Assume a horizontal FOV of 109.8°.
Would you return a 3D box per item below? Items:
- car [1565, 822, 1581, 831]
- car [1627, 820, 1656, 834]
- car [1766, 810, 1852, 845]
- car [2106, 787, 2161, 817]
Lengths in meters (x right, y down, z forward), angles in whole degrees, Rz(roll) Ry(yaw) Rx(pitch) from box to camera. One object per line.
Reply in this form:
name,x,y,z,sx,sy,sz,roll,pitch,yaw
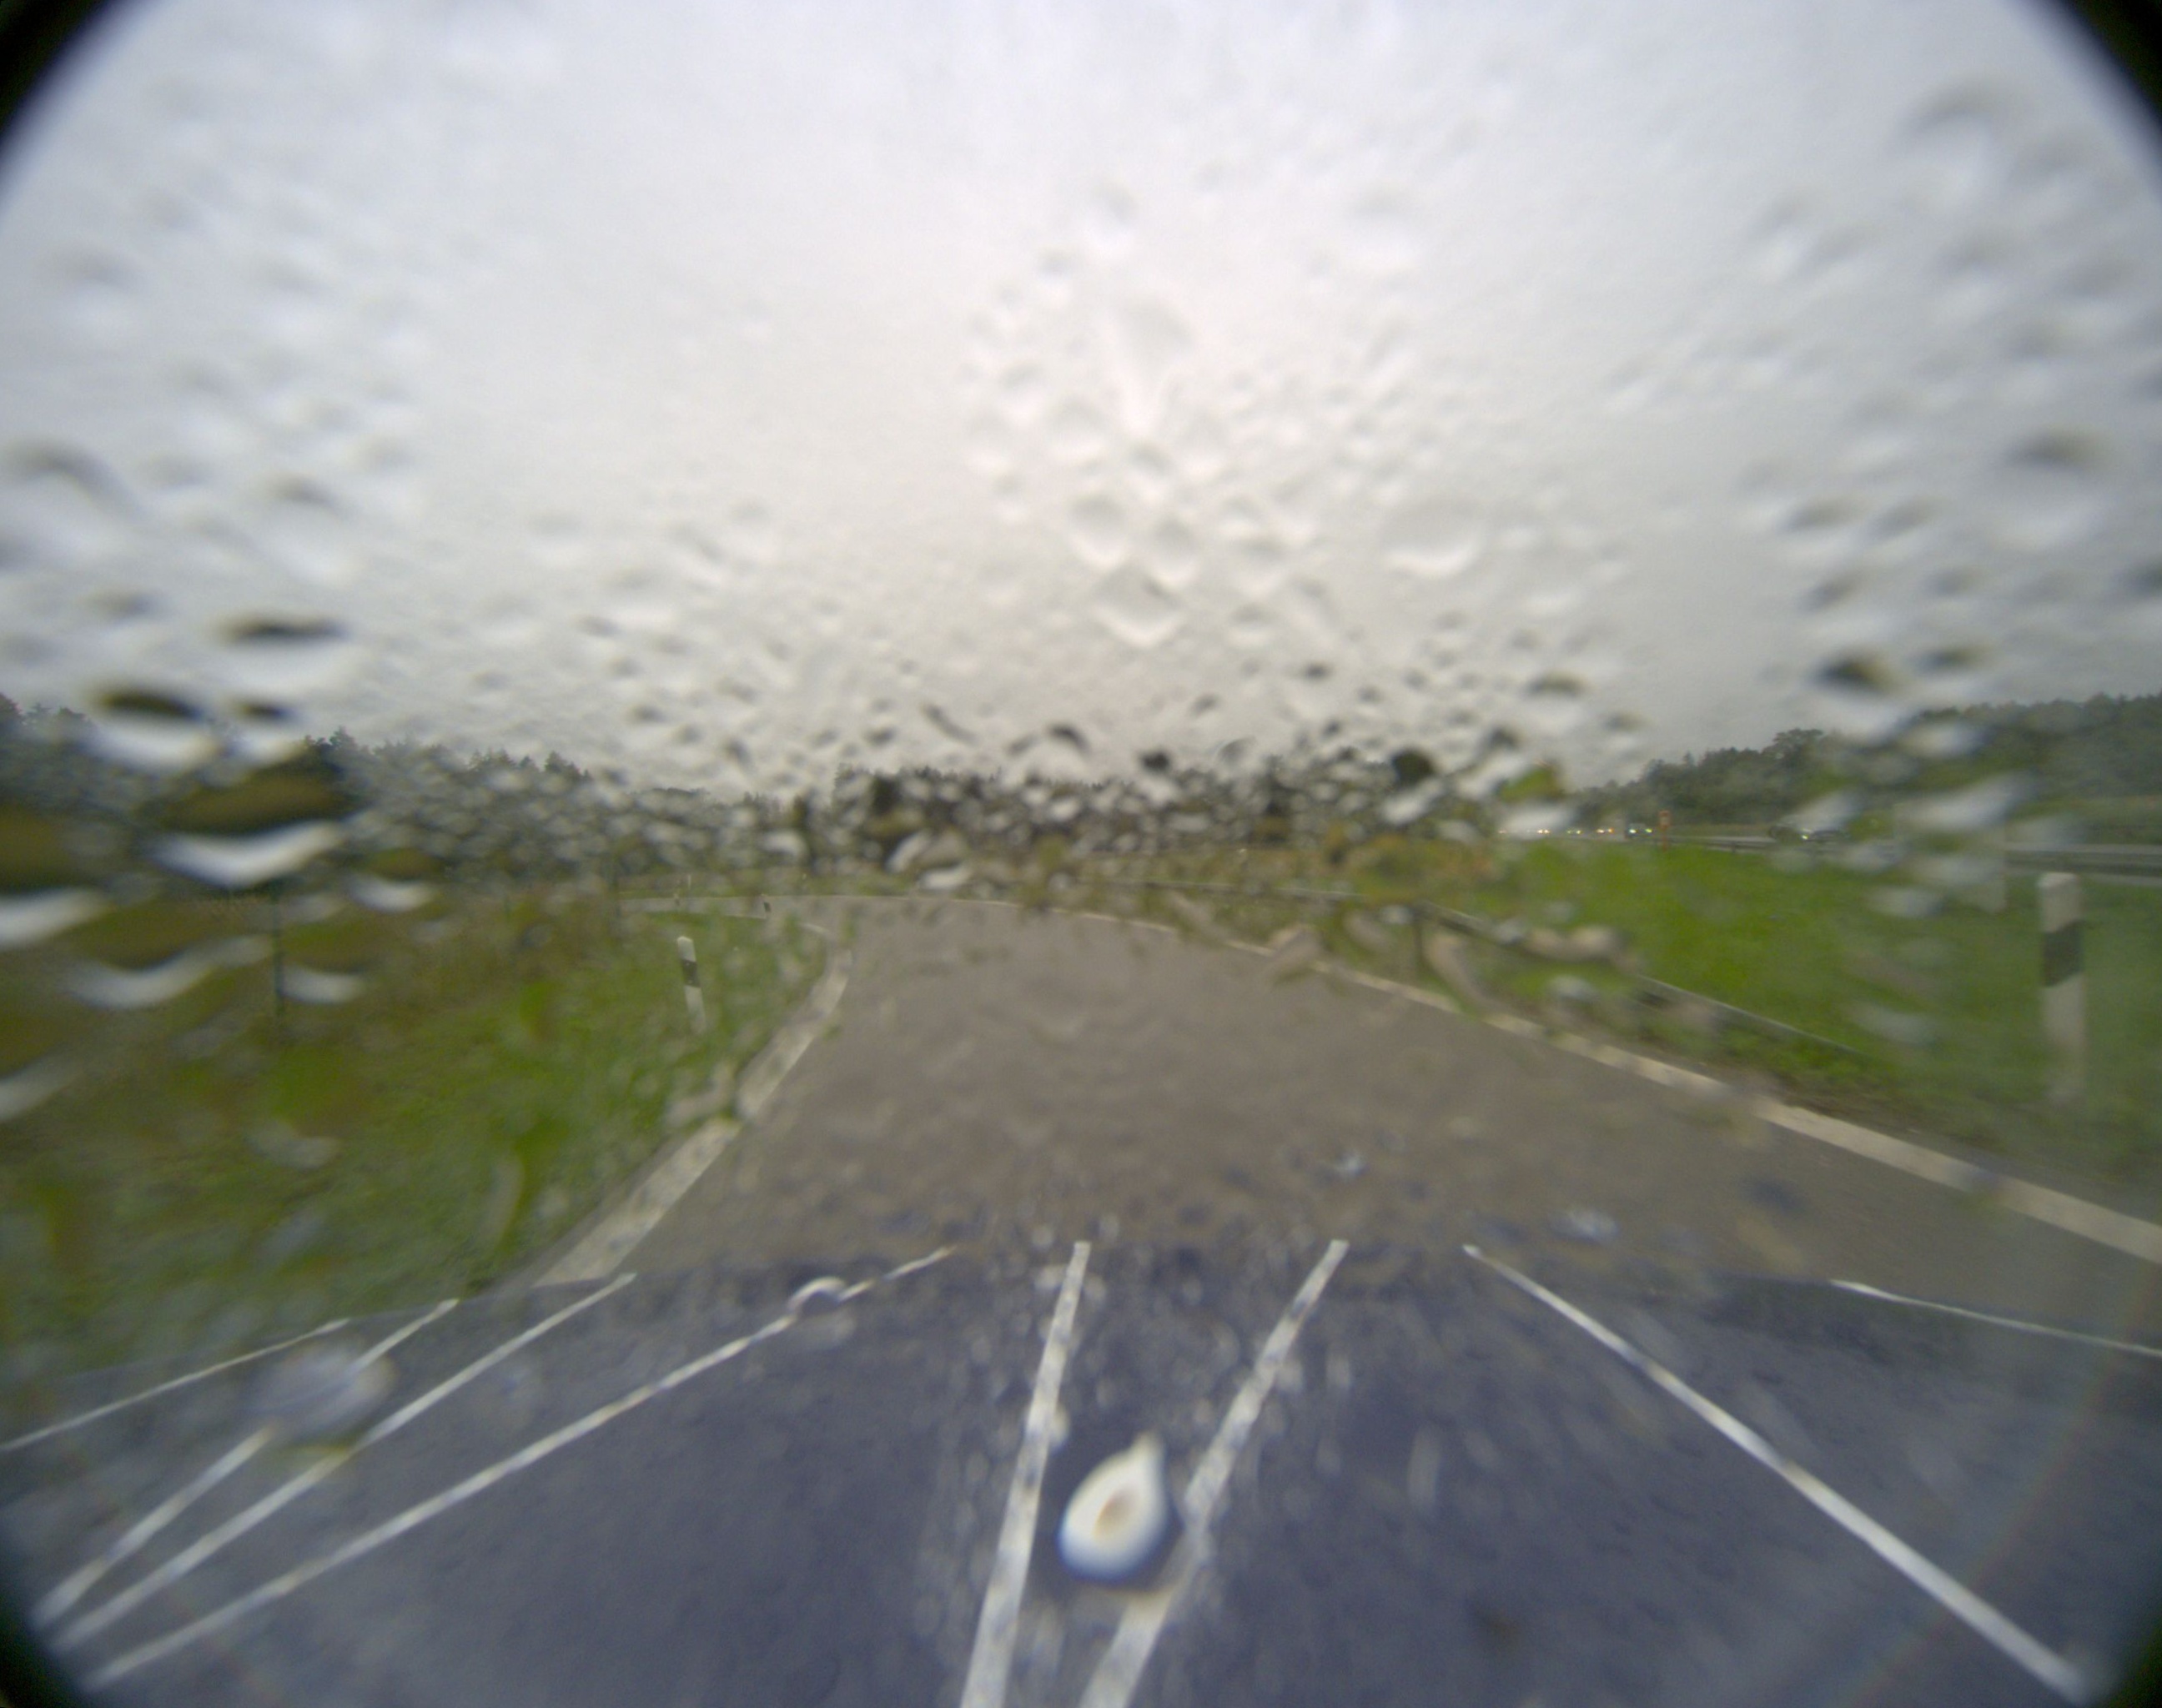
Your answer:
car,88.926,-4.991,137.384,2.146,1.627,4.603,-1,2,30
car,62.446,-2.988,84.727,2.095,1.446,4.603,-1,2,30
car,37.675,-1.375,39.498,1.863,1.625,5.109,-2,1,28
car,66.228,-3.252,46.956,1.731,1.726,4.006,-3,0,26
